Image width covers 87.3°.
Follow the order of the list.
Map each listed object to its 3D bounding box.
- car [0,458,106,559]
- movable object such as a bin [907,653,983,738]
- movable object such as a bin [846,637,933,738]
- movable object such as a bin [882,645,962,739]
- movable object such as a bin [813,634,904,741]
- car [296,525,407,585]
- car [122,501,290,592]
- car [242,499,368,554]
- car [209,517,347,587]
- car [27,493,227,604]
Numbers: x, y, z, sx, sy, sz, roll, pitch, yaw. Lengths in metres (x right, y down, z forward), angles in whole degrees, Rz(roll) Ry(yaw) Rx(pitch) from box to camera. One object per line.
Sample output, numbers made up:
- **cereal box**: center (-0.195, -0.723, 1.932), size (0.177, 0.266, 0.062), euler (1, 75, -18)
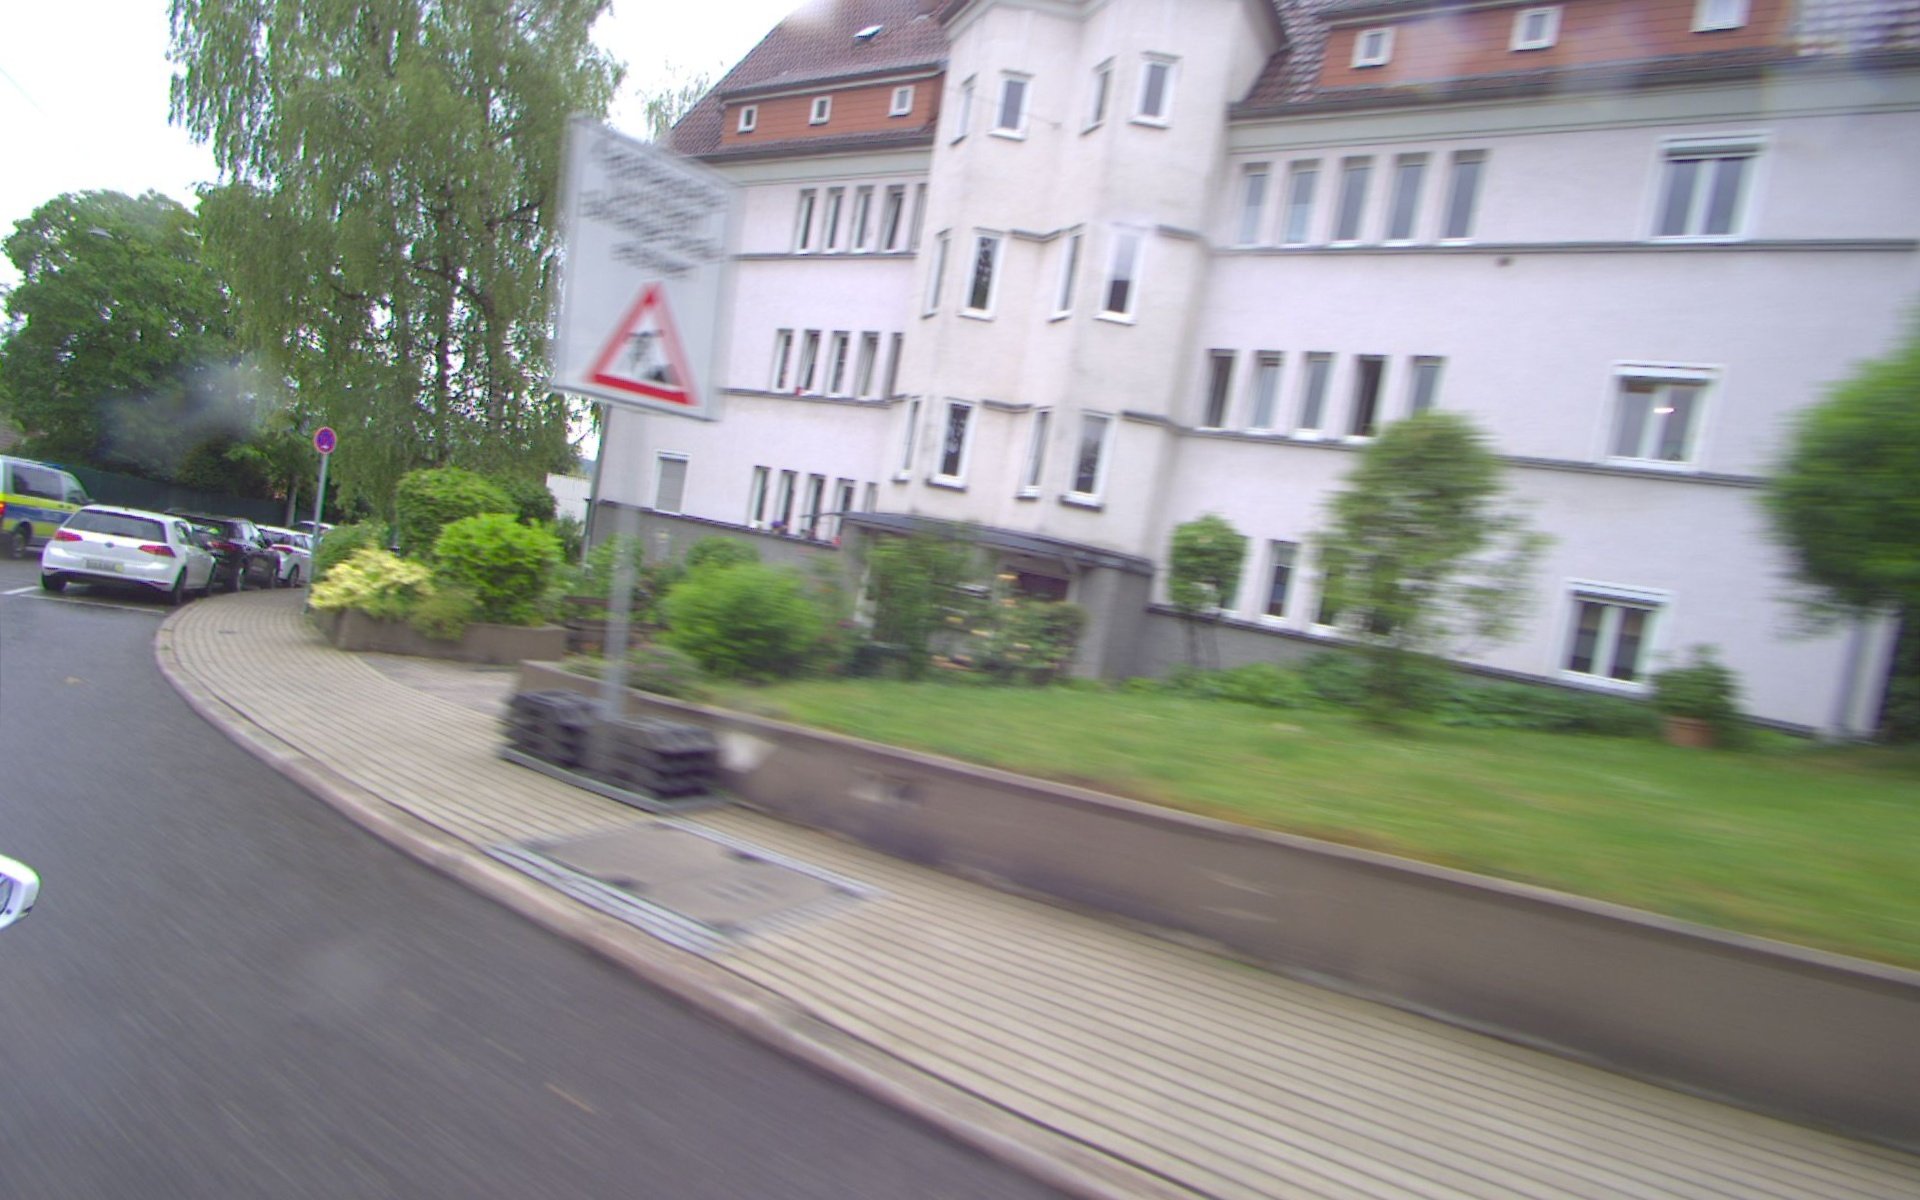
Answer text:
- **car**: center (-20.113, -2.003, 21.060), size (1.978, 1.913, 4.543), euler (11, -2, -25)
- **movable object such as a bin**: center (-0.181, 1.147, 12.147), size (0.679, 0.909, 0.483), euler (7, 0, 35)
- **movable object such as a bin**: center (-0.790, 0.978, 11.312), size (0.679, 1.025, 0.530), euler (7, 0, 35)
- **movable object such as a bin**: center (-0.442, 1.067, 11.736), size (0.679, 0.982, 0.483), euler (7, 0, 35)
- **movable object such as a bin**: center (-1.078, 0.921, 10.689), size (0.679, 1.025, 0.530), euler (7, 0, 35)
- **car**: center (-19.004, -1.352, 31.581), size (1.598, 1.523, 3.600), euler (8, -1, -9)
- **car**: center (-15.963, -1.140, 21.547), size (1.607, 1.538, 4.304), euler (8, 0, -21)
- **car**: center (-26.321, -2.904, 40.631), size (1.797, 1.627, 4.286), euler (7, 0, 7)
- **car**: center (-17.934, -1.215, 26.658), size (1.706, 1.482, 4.018), euler (8, -1, -16)
- **car**: center (-14.176, -0.876, 17.388), size (1.776, 1.463, 4.076), euler (8, -1, -29)
